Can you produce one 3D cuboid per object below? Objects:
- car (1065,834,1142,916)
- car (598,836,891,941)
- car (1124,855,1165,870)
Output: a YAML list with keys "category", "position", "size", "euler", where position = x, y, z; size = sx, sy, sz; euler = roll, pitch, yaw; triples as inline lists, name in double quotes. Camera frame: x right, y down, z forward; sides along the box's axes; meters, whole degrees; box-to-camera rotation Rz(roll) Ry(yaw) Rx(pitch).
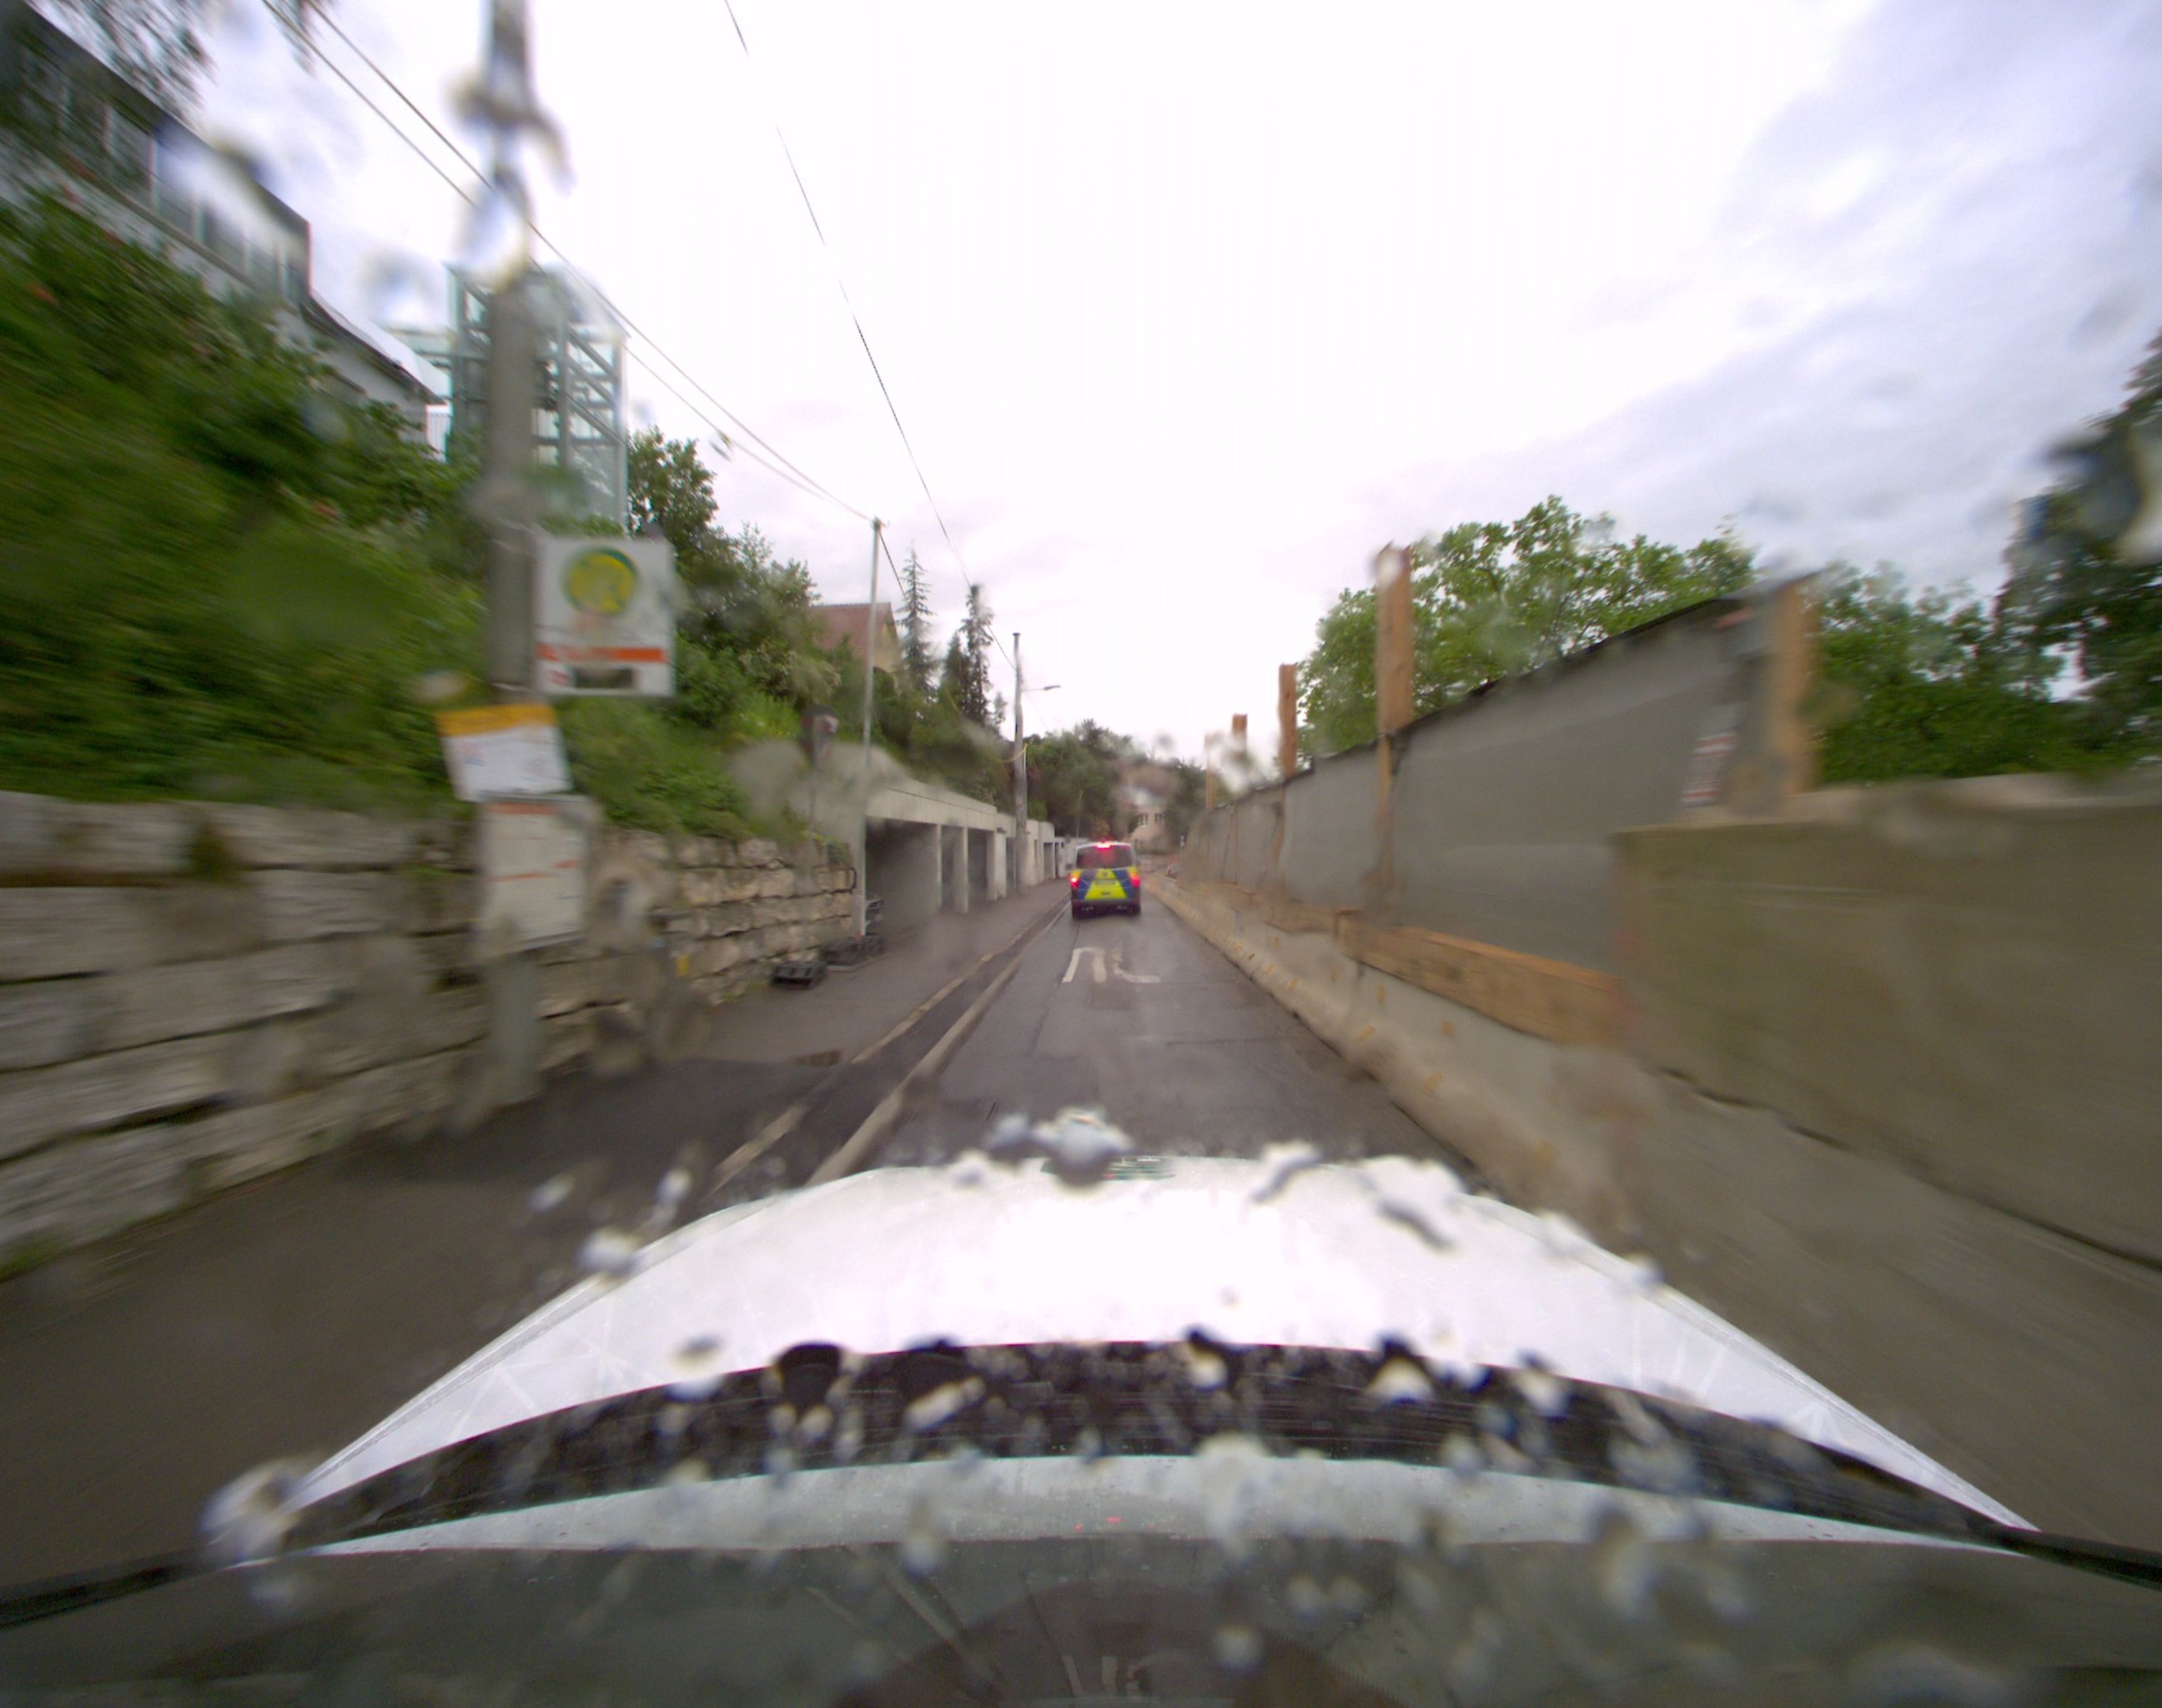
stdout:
- category: "car"
  position: [0.636, 0.557, 22.664]
  size: [1.901, 2.010, 4.440]
  euler: [1, -1, 1]
- category: "car"
  position: [-5.952, 0.594, 14.864]
  size: [4.385, 1.706, 2.111]
  euler: [1, -1, 1]
- category: "car"
  position: [6.674, 0.928, 85.526]
  size: [3.949, 1.517, 1.739]
  euler: [0, -1, 32]
